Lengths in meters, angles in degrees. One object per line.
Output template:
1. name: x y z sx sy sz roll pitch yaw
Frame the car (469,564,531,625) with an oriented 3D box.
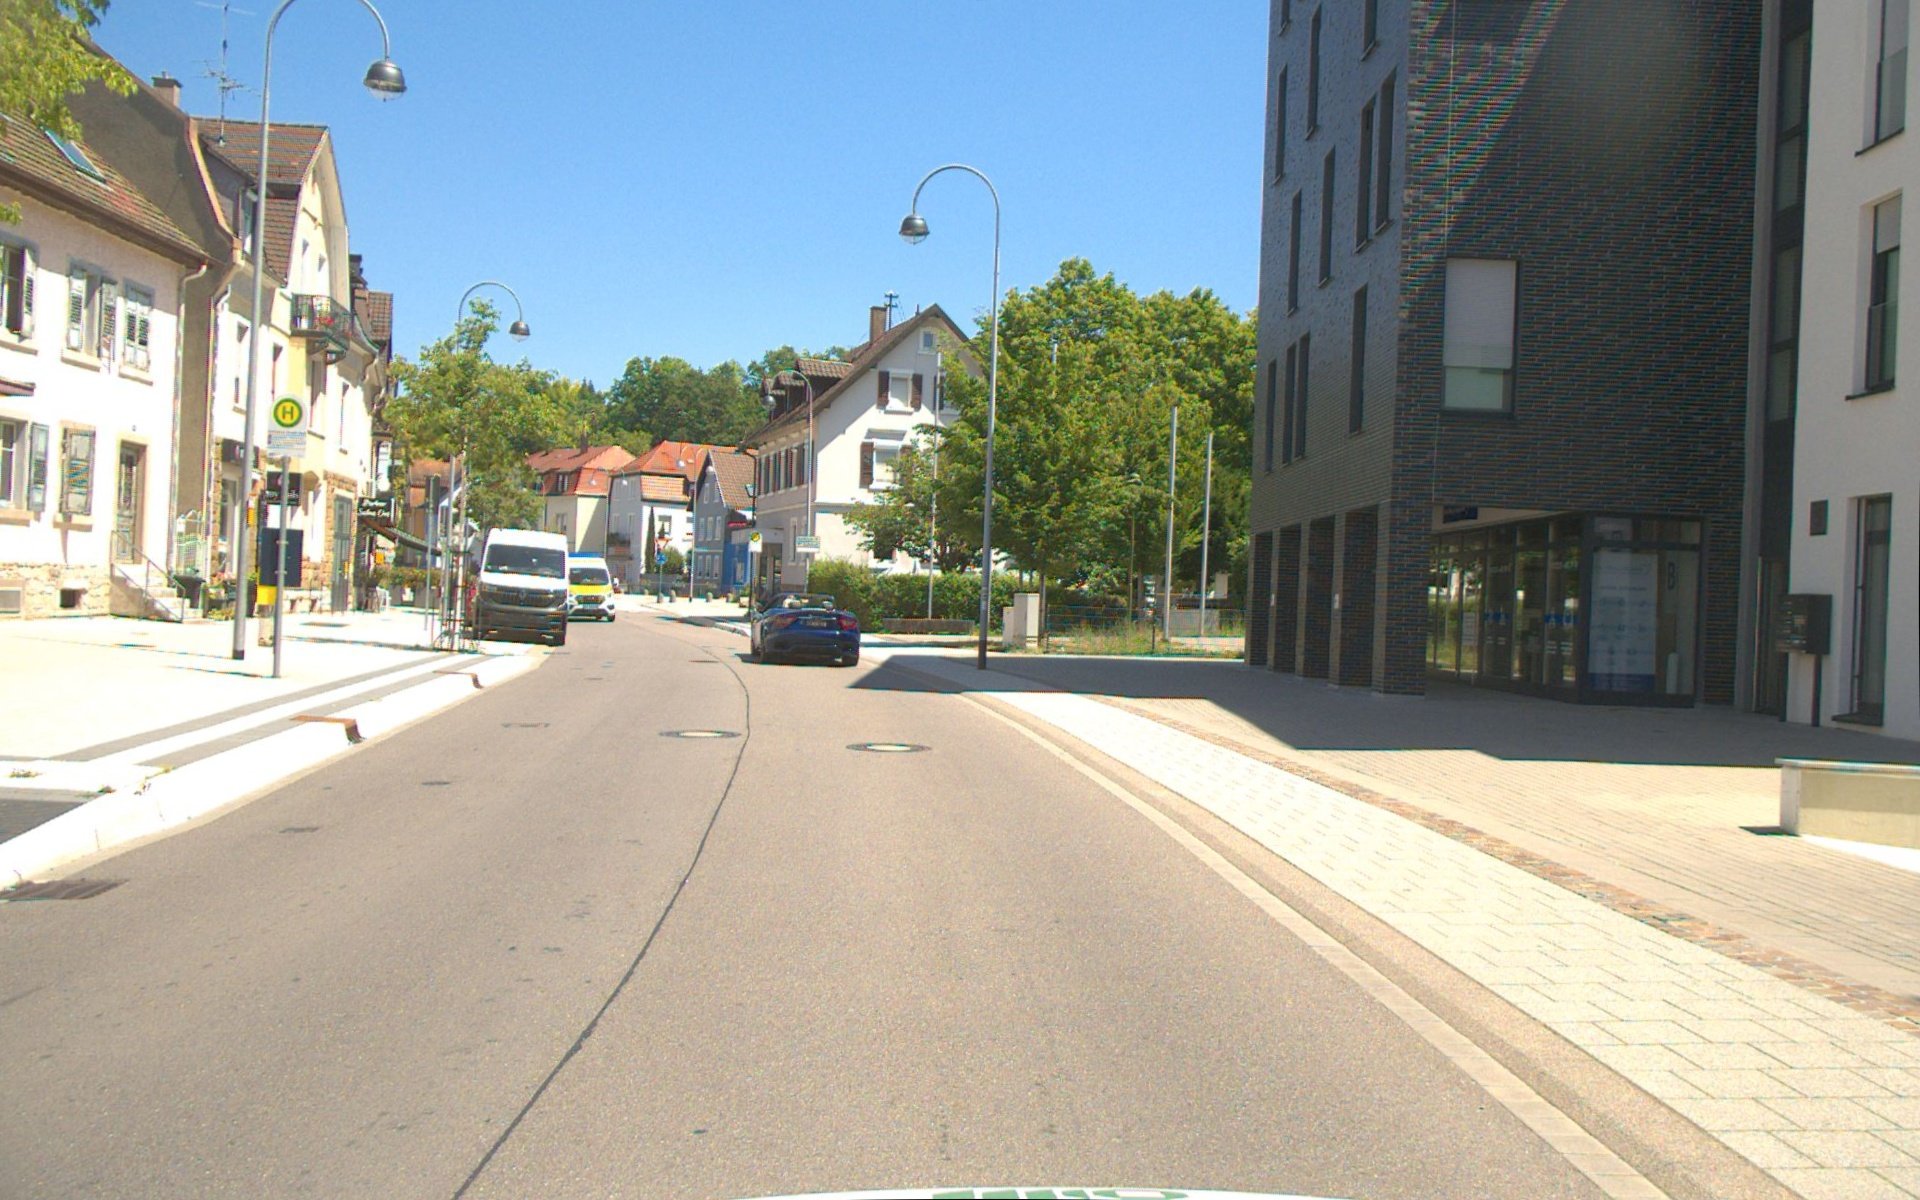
1. car: -12.845 -0.148 46.279 1.534 1.547 3.502 3 -1 -15

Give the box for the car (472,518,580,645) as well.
1. car: -9.886 -0.411 37.822 2.057 2.541 5.482 4 0 -14

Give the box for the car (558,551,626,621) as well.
1. car: -13.468 -0.502 60.312 2.121 2.403 5.226 1 0 -15

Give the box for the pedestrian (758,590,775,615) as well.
1. pedestrian: -8.045 0.107 68.745 0.581 1.017 0.720 1 1 -18

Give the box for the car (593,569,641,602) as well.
1. car: -23.189 -1.001 111.649 1.972 2.049 3.960 3 0 -30

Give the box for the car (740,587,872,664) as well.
1. car: -3.119 0.465 32.762 1.879 1.384 4.268 1 0 -15
